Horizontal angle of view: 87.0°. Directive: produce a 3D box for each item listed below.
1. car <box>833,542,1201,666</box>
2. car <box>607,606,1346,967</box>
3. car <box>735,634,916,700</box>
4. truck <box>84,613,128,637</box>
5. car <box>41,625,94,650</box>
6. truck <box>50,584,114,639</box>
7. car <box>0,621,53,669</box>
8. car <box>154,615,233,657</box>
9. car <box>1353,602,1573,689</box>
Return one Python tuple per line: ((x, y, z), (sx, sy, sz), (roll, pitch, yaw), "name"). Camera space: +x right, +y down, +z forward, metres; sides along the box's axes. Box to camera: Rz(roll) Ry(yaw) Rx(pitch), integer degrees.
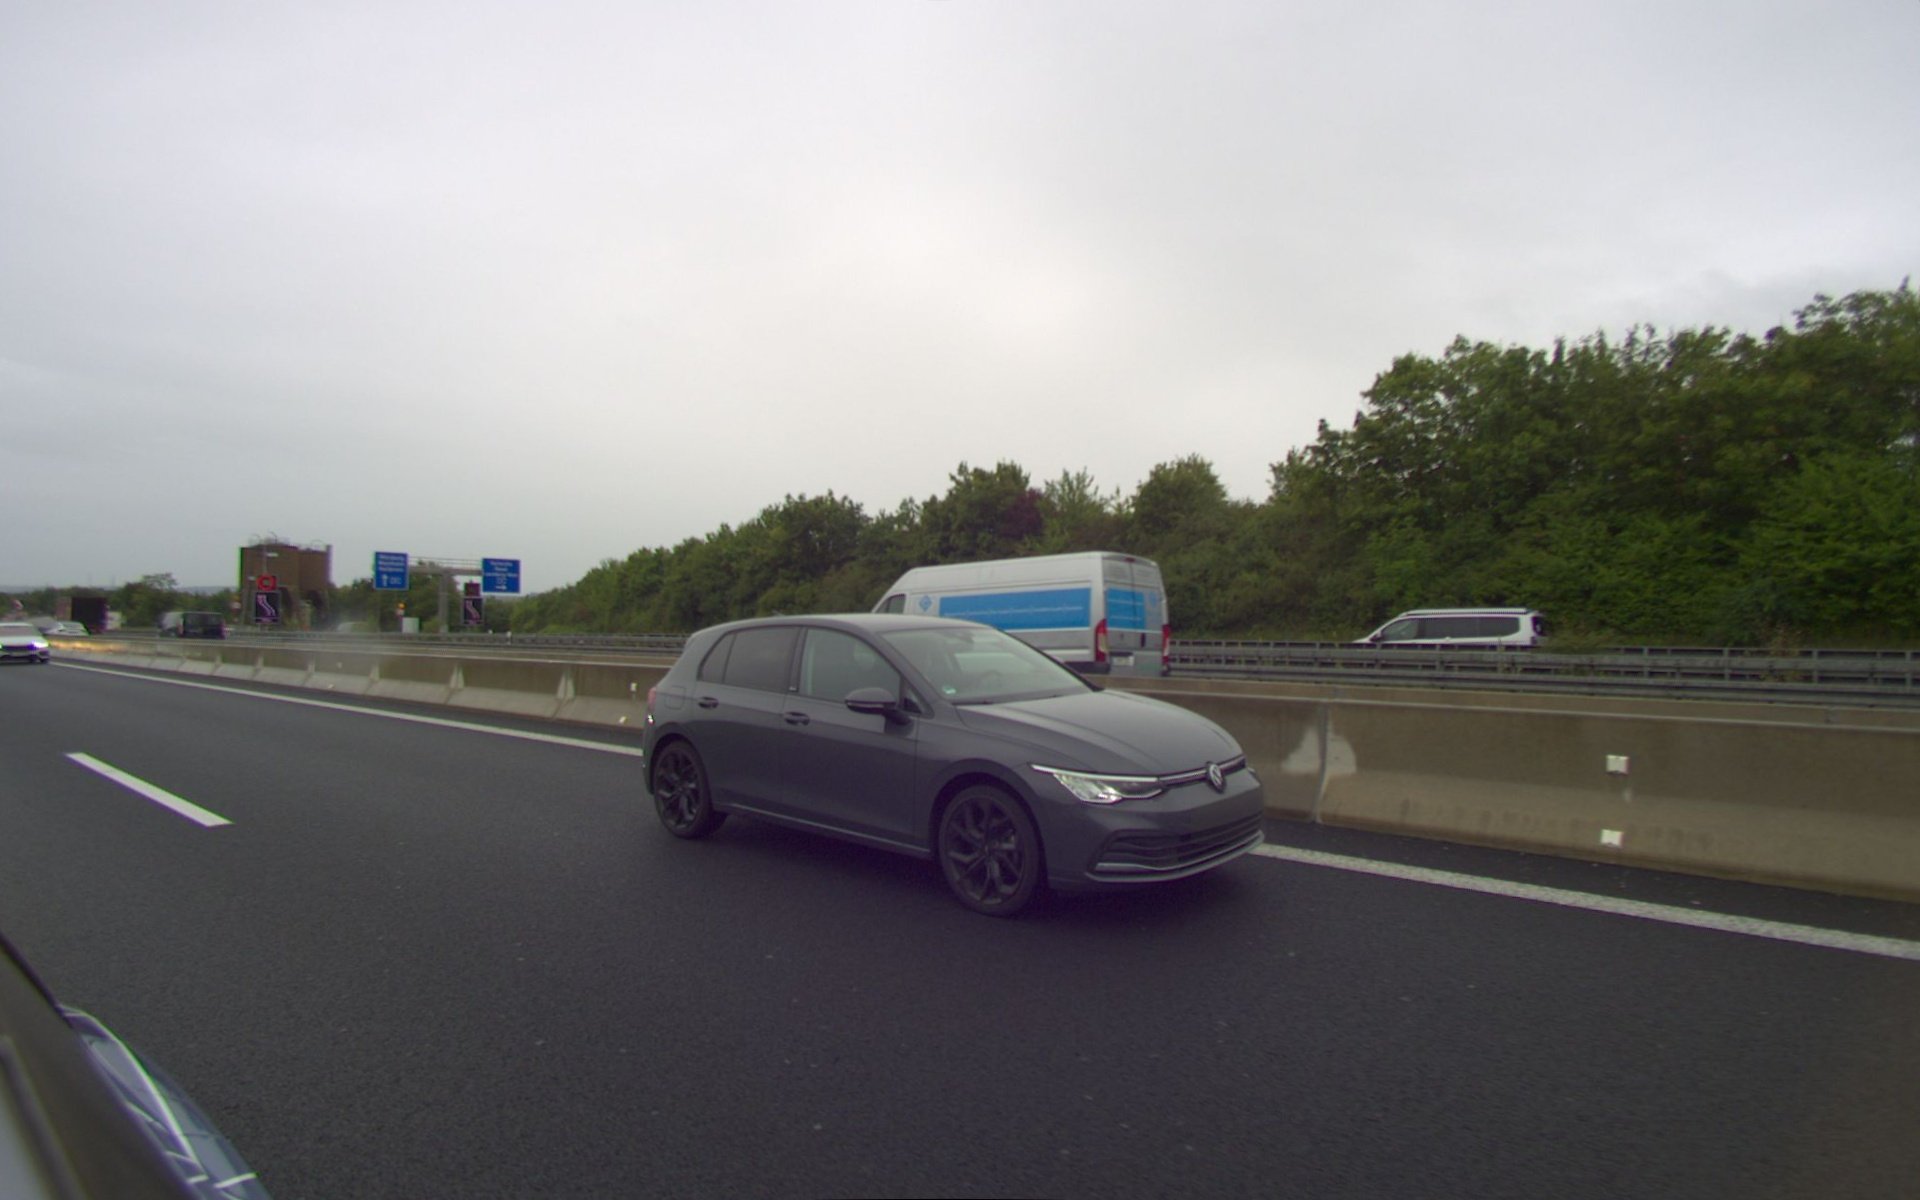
((0.750, 0.130, 16.767), (5.902, 1.706, 2.334), (-1, -2, 40), "car")
((-0.168, 0.793, 6.185), (4.364, 1.436, 1.812), (-1, -1, 40), "car")
((-3.507, 1.639, 25.876), (4.676, 1.446, 1.973), (-2, 0, 41), "car")
((-140.571, 4.111, 166.512), (17.128, 3.838, 3.144), (-2, -2, 42), "truck")
((-65.697, 2.772, 74.472), (4.955, 1.779, 2.134), (-2, -2, 39), "car")
((-80.455, 1.059, 92.646), (10.485, 4.769, 3.363), (-2, -1, 43), "truck")
((-34.093, 1.571, 36.151), (4.814, 1.603, 1.973), (-1, -1, 41), "car")
((-36.499, 1.682, 48.150), (4.675, 1.850, 1.974), (-2, 0, 40), "car")
((12.780, 1.090, 25.885), (4.711, 2.029, 1.973), (-1, -1, 40), "car")
